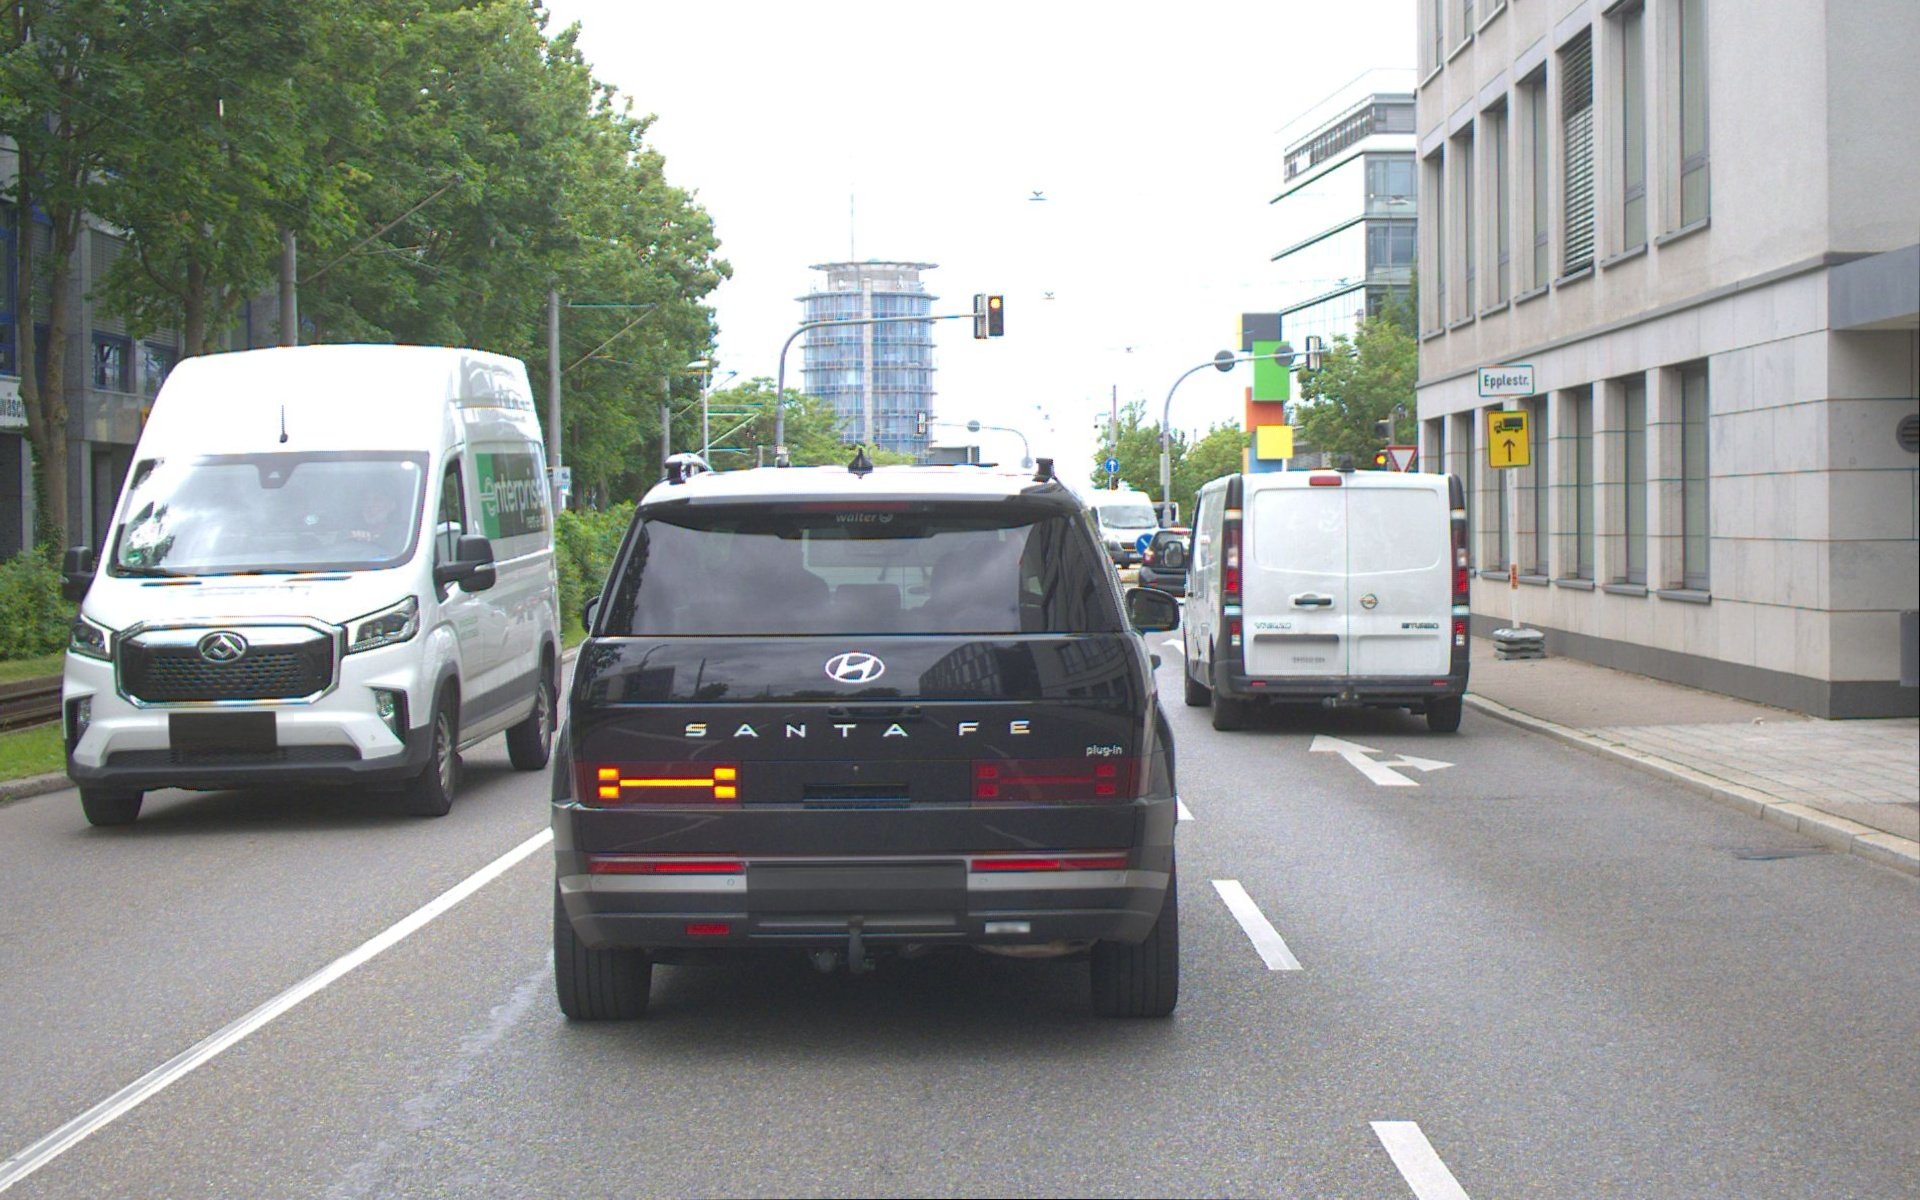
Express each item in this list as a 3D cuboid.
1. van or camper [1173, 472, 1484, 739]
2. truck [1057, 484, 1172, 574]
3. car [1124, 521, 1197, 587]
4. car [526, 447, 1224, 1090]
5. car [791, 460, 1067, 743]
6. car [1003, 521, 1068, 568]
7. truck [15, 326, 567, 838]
[{"bbox_3d":[2.786,-0.016,26.931,1.993,1.909,4.332,0,1,1],"label":"van or camper"},{"bbox_3d":[4.888,-2.268,109.894,2.331,2.738,6.489,-1,1,-9],"label":"truck"},{"bbox_3d":[5.070,-1.176,86.809,1.759,1.603,4.188,0,1,4],"label":"car"},{"bbox_3d":[-0.408,0.420,11.637,1.908,1.743,4.397,0,1,-5],"label":"car"},{"bbox_3d":[-0.329,-0.045,26.708,1.931,1.987,4.536,-1,1,-3],"label":"car"},{"bbox_3d":[2.679,-1.980,122.829,1.993,1.613,4.001,-1,1,-3],"label":"car"},{"bbox_3d":[-3.775,-0.158,20.603,2.165,2.606,5.796,-1,1,0],"label":"truck"}]
